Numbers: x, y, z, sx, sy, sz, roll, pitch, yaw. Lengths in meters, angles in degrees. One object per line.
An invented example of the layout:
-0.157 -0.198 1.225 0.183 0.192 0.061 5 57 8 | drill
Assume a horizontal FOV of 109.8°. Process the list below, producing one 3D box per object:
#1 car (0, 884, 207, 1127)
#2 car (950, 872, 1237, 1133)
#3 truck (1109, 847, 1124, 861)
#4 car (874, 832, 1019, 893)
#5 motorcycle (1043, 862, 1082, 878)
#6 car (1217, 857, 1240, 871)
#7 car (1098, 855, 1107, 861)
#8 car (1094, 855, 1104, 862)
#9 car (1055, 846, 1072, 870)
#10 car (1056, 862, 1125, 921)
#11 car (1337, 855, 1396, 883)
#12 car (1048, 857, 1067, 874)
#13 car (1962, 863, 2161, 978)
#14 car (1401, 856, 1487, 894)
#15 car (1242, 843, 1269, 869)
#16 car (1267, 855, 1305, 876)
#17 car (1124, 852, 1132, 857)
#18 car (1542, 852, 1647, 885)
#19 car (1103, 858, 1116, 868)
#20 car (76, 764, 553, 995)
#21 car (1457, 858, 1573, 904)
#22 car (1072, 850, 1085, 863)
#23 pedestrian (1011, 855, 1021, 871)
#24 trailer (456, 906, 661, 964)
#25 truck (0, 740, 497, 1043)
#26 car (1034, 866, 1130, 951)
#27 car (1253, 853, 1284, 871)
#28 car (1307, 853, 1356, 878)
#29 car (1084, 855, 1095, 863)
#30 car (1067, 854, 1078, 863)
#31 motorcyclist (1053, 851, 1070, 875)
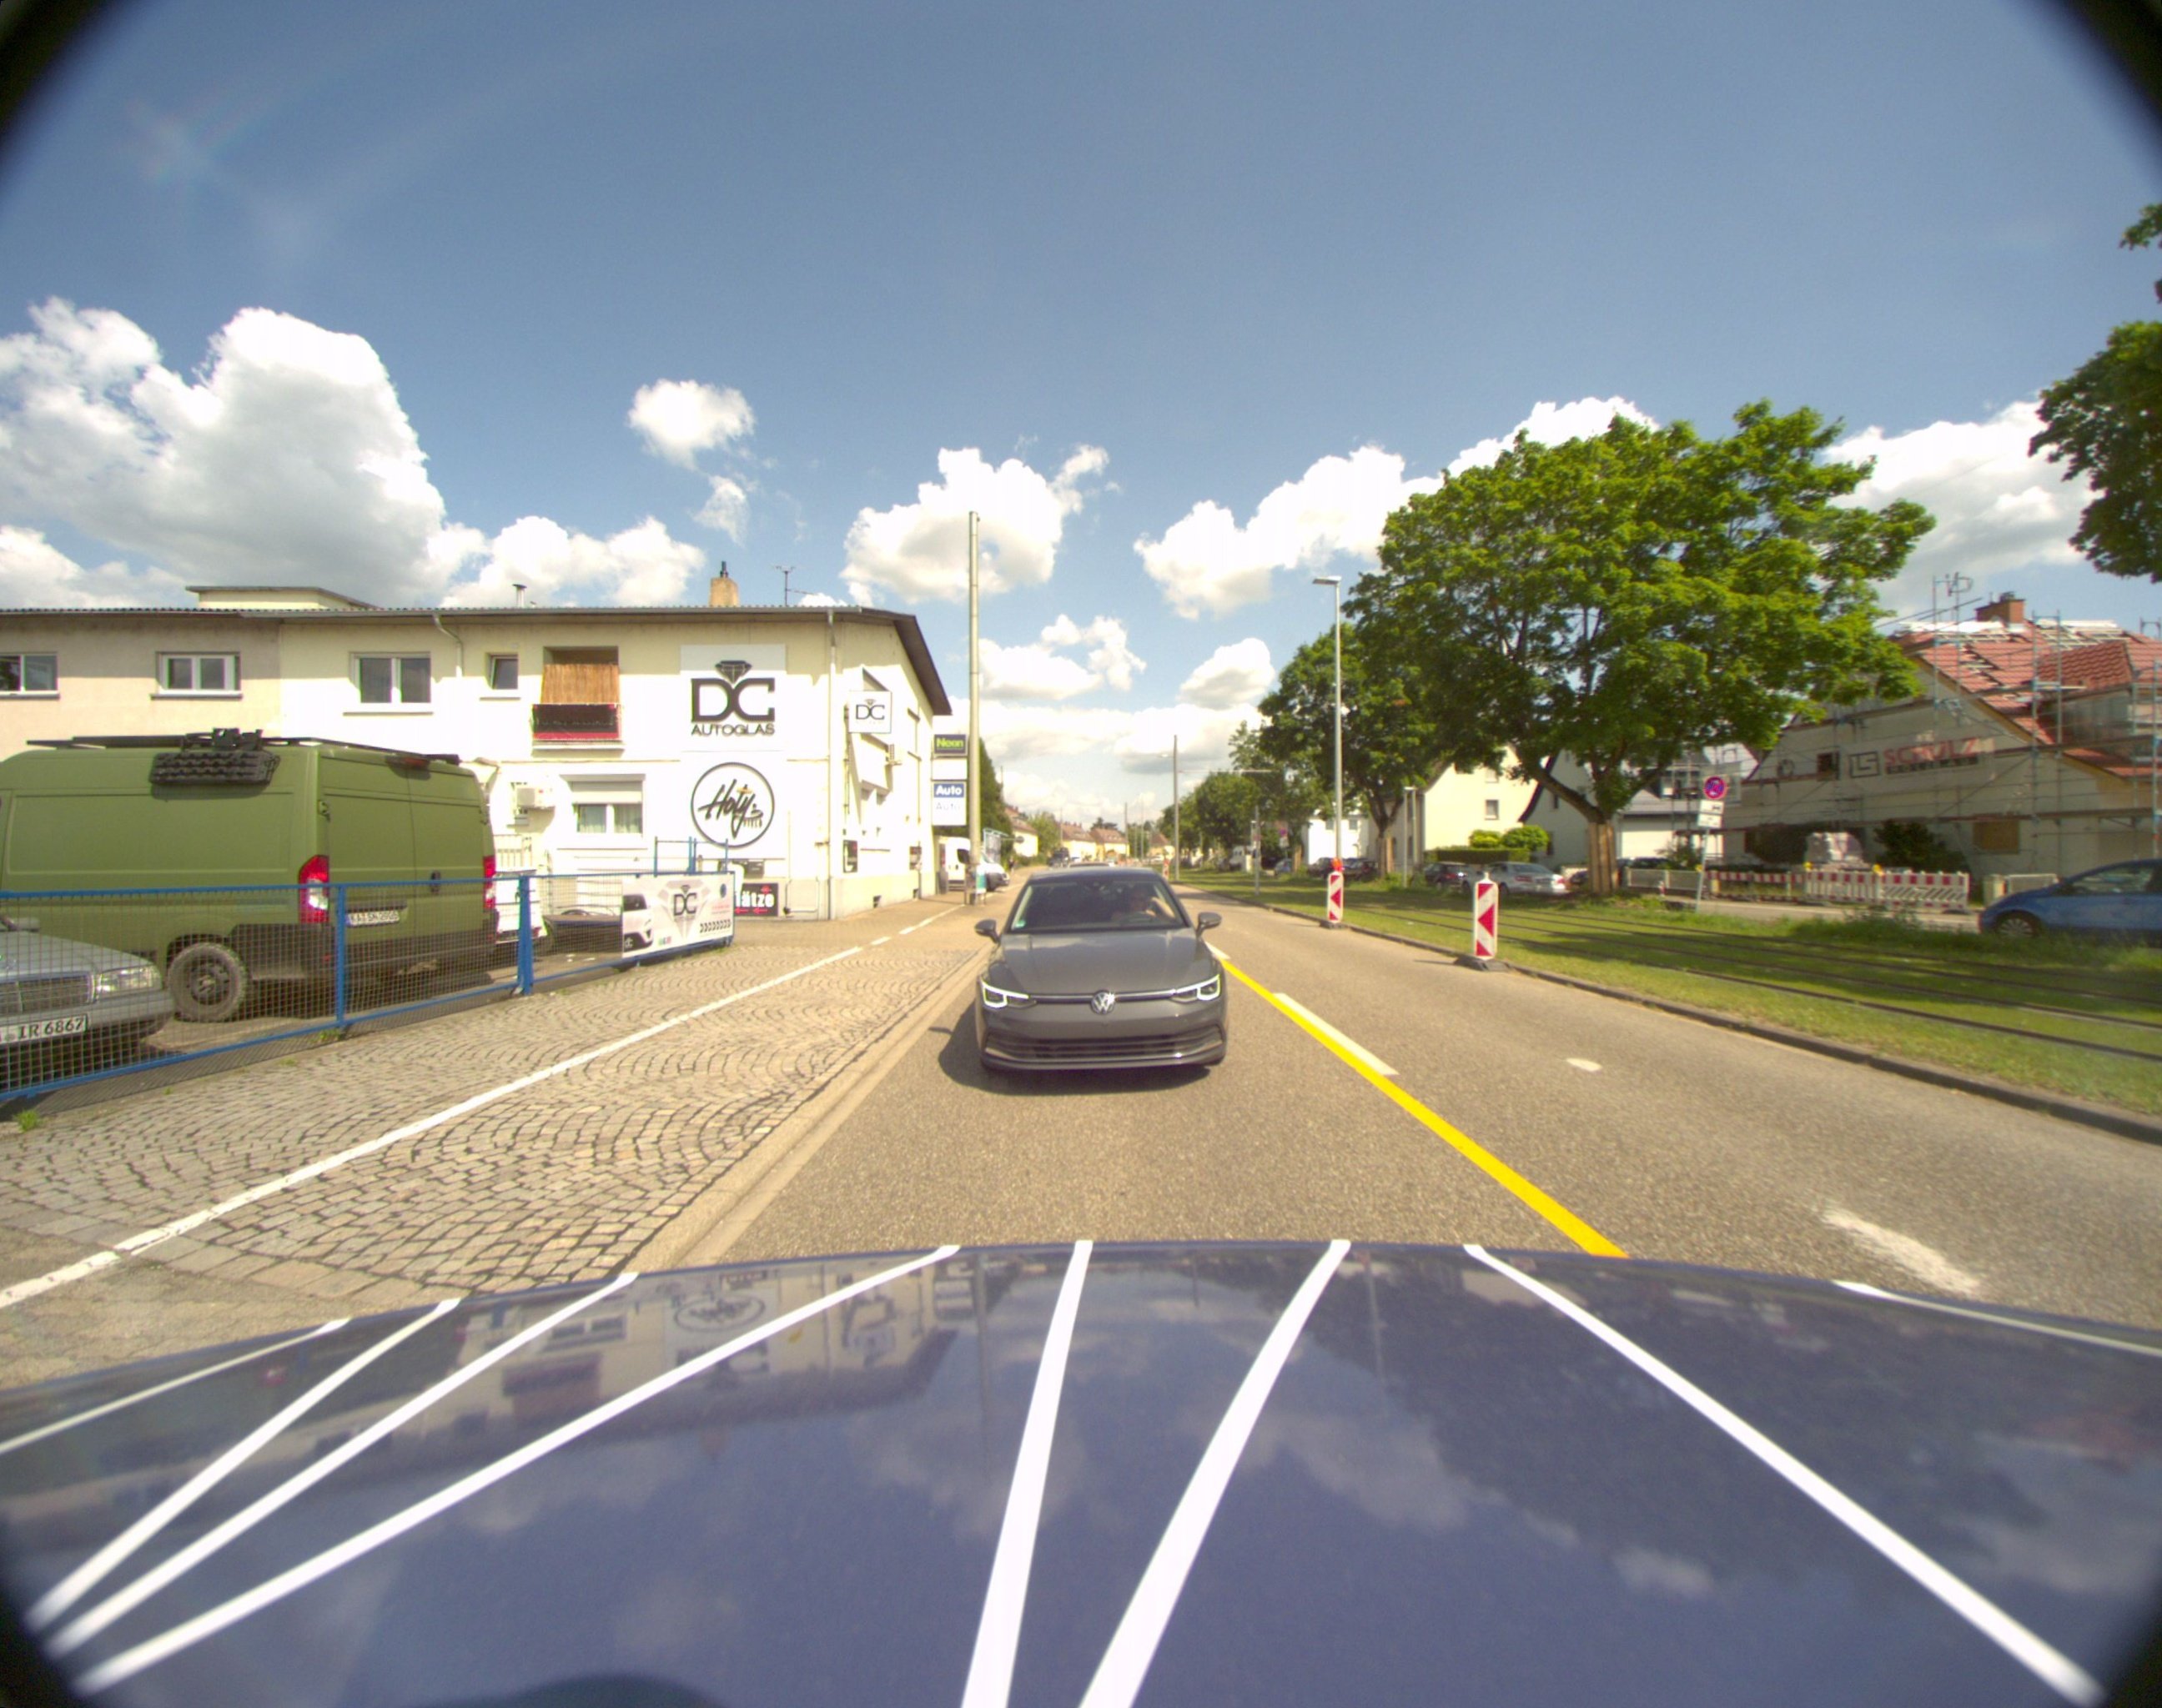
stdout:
-8.435 0.919 4.810 4.206 1.388 1.804 0 0 8 | car
0.101 0.939 6.556 1.719 1.470 4.009 0 0 1 | car
9.408 0.015 201.135 2.590 3.431 8.585 0 0 11 | truck
-5.930 0.381 33.979 5.982 2.362 2.000 3 0 3 | car
-1.451 1.247 59.394 2.896 1.164 0.887 0 0 15 | motorcycle
16.934 1.151 87.270 1.755 1.602 4.606 0 0 0 | car
5.180 0.992 179.085 1.718 1.470 4.011 0 0 8 | car
4.108 0.990 172.736 1.718 1.470 4.011 0 0 8 | car
-1.917 0.409 83.088 1.720 2.526 5.794 0 0 0 | car
0.271 0.989 21.492 1.787 1.470 4.009 0 0 1 | car
16.902 0.851 45.267 1.755 1.602 4.606 0 0 0 | car
-2.159 1.065 70.987 1.720 1.470 4.009 0 0 0 | car
16.247 0.960 11.232 1.755 1.602 4.050 0 0 0 | car
16.591 0.917 35.029 1.755 1.602 4.606 0 0 0 | car
17.648 0.196 77.013 1.755 2.601 4.606 0 0 0 | car
16.496 0.916 61.356 1.755 1.602 4.606 0 0 0 | car
13.534 0.228 218.477 1.718 1.470 4.013 0 0 13 | car
25.513 0.722 37.832 4.047 1.602 1.757 0 0 1 | car
4.137 1.323 110.225 1.719 1.405 4.262 0 0 1 | car
-9.453 0.303 9.651 4.209 2.653 1.803 0 0 0 | car
16.390 0.966 29.007 1.755 1.602 4.606 0 0 0 | car
-0.427 0.396 136.322 1.719 2.360 5.211 0 0 5 | car
-6.233 0.872 72.938 0.816 1.577 0.918 0 0 1 | pedestrian
-8.061 1.239 11.836 2.329 0.762 1.269 0 0 2 | trailer
-8.622 0.330 7.566 3.997 2.592 2.069 0 0 1 | truck
0.039 1.007 15.643 1.719 1.470 4.009 0 0 1 | car
17.586 0.755 71.495 1.755 1.602 4.606 0 0 0 | car
16.680 0.764 50.907 1.755 1.602 4.606 0 0 0 | car
1.817 0.983 155.302 1.718 1.470 4.011 0 0 8 | car
-1.363 0.735 122.958 1.720 1.470 4.009 0 0 0 | car
-1.532 0.713 59.416 1.111 1.900 0.880 0 0 15 | motorcyclist
